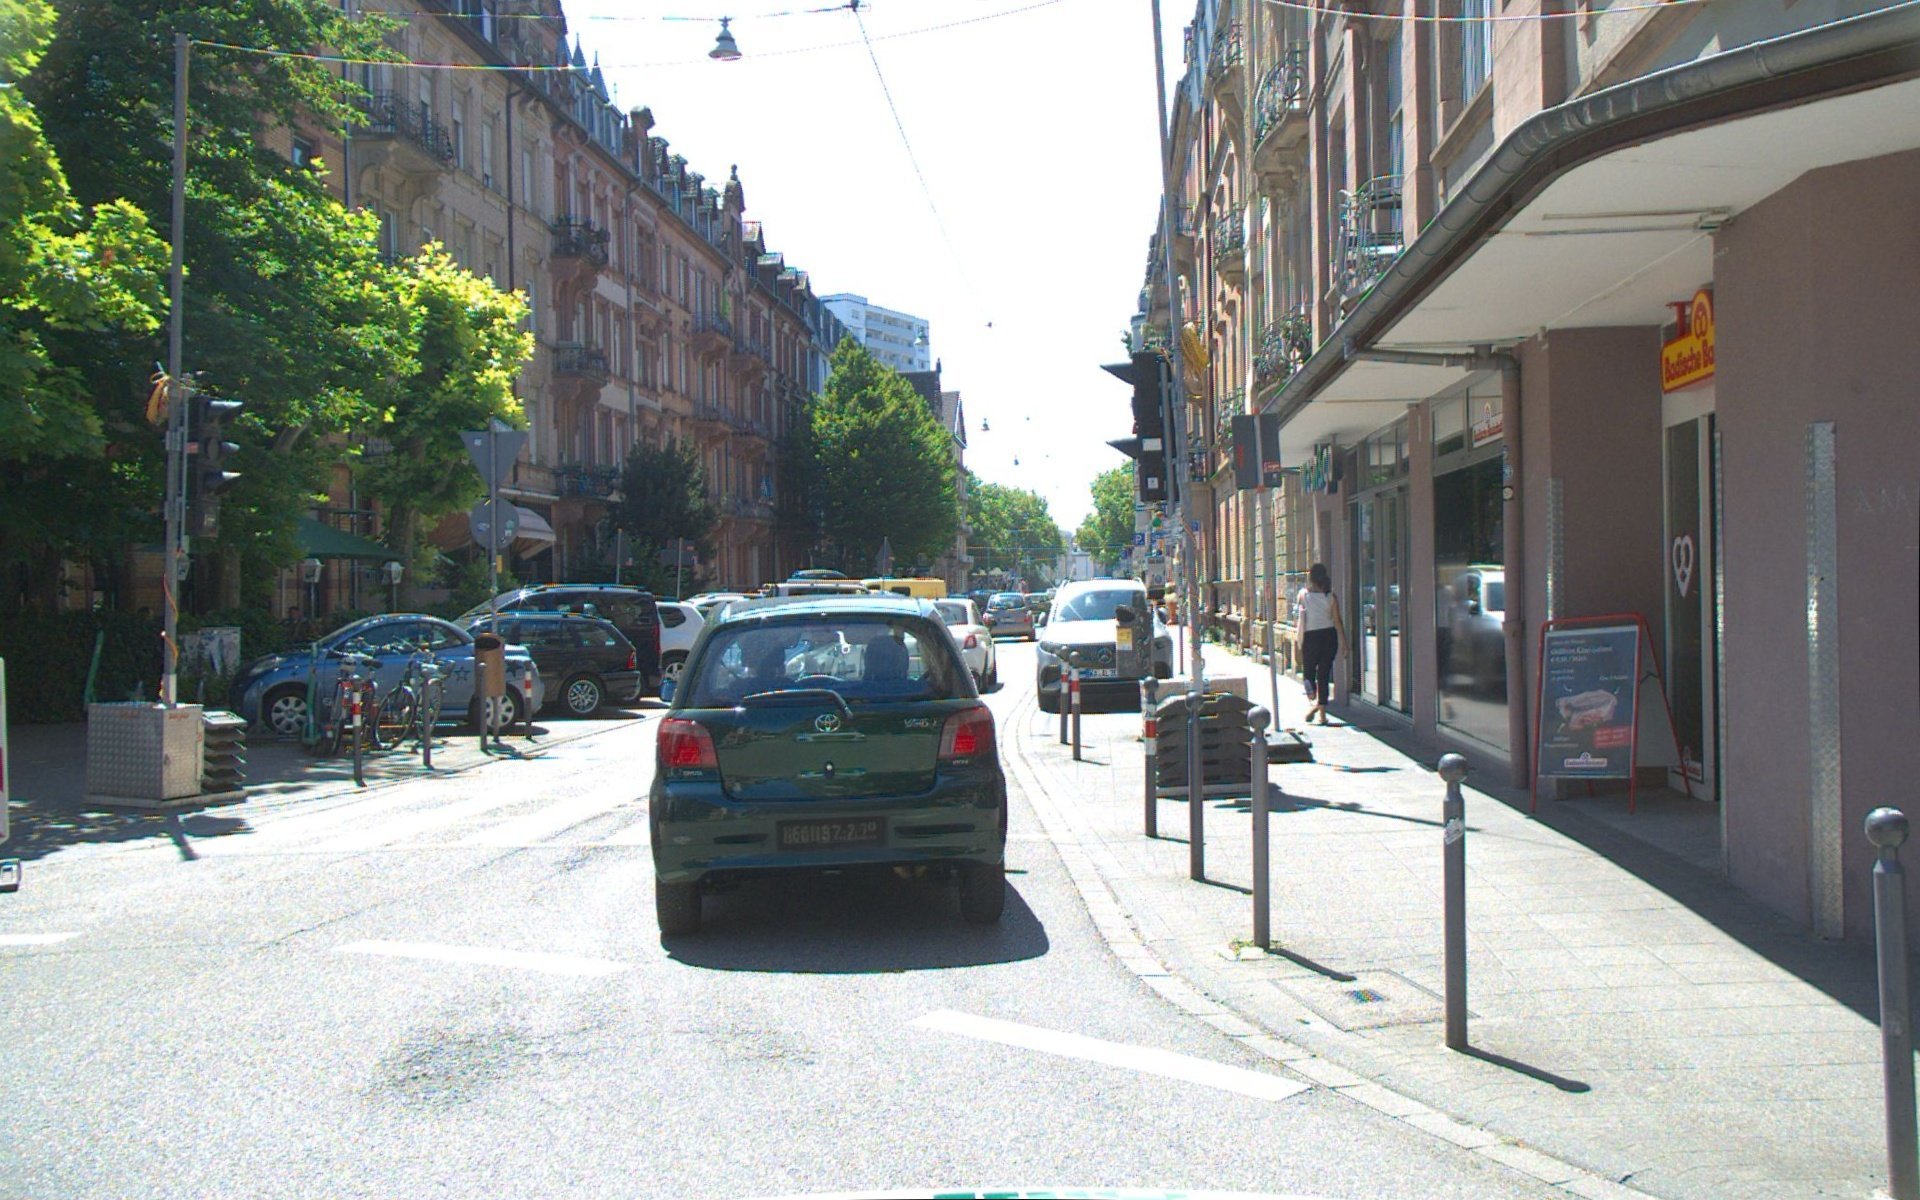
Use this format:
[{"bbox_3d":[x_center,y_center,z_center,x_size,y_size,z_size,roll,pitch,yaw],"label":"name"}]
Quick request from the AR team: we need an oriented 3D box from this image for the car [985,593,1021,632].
[{"bbox_3d":[1.914,0.528,73.480,1.490,1.620,3.265,-1,1,3],"label":"car"}]

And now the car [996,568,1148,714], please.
[{"bbox_3d":[1.593,0.507,23.179,1.832,1.743,4.506,-3,0,4],"label":"car"}]

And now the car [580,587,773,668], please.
[{"bbox_3d":[-6.368,0.587,37.269,3.880,1.647,1.842,-2,0,-37],"label":"car"}]

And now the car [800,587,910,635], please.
[{"bbox_3d":[-3.946,0.392,62.175,3.804,1.668,1.775,-1,0,-20],"label":"car"}]

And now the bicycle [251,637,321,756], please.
[{"bbox_3d":[-7.299,1.019,17.961,0.331,1.177,1.617,0,0,-9],"label":"bicycle"}]

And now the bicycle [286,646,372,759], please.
[{"bbox_3d":[-6.881,1.084,18.098,0.481,1.100,1.895,0,0,-9],"label":"bicycle"}]

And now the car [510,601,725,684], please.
[{"bbox_3d":[-6.933,0.825,33.634,3.881,1.496,1.841,-2,0,-37],"label":"car"}]

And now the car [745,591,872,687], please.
[{"bbox_3d":[-2.956,0.718,33.224,1.718,1.673,4.380,-4,0,4],"label":"car"}]

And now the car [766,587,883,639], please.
[{"bbox_3d":[-4.866,0.442,59.452,3.852,1.738,1.855,-1,0,-20],"label":"car"}]

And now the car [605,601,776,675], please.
[{"bbox_3d":[-6.580,0.897,40.329,3.852,1.647,1.855,-1,0,-20],"label":"car"}]

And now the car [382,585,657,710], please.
[{"bbox_3d":[-6.900,0.691,25.918,3.937,1.836,1.755,0,0,-26],"label":"car"}]

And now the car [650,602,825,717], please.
[{"bbox_3d":[-3.189,0.812,24.488,1.718,1.469,4.002,-2,0,4],"label":"car"}]

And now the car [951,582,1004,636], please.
[{"bbox_3d":[0.592,0.275,52.939,1.490,1.620,3.265,-1,1,4],"label":"car"}]

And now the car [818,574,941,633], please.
[{"bbox_3d":[-3.208,0.108,66.109,4.496,2.226,1.986,-1,0,-23],"label":"car"}]

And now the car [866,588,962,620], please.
[{"bbox_3d":[-2.325,0.188,83.576,4.496,1.459,1.986,-1,0,-23],"label":"car"}]

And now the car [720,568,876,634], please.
[{"bbox_3d":[-5.343,0.017,54.546,4.712,2.029,2.037,-1,0,-25],"label":"car"}]

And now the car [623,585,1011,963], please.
[{"bbox_3d":[-0.807,0.706,8.560,1.583,1.511,3.235,-2,1,-8],"label":"car"}]

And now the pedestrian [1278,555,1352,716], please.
[{"bbox_3d":[3.765,0.366,17.581,0.627,1.652,0.804,-1,0,4],"label":"pedestrian"}]

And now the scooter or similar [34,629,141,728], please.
[{"bbox_3d":[-10.815,0.949,20.543,0.272,1.140,1.471,1,1,12],"label":"scooter or similar"}]

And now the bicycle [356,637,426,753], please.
[{"bbox_3d":[-6.379,1.041,18.594,0.481,1.193,1.681,0,0,-10],"label":"bicycle"}]

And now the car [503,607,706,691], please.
[{"bbox_3d":[-6.665,0.874,30.929,3.565,1.483,1.616,0,0,-20],"label":"car"}]

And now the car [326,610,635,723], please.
[{"bbox_3d":[-6.817,0.888,23.561,3.942,1.437,1.953,0,0,-28],"label":"car"}]

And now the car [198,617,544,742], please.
[{"bbox_3d":[-7.416,0.935,20.832,3.936,1.399,1.984,0,0,-25],"label":"car"}]

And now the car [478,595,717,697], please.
[{"bbox_3d":[-6.353,0.758,28.954,3.927,1.687,1.750,0,0,-19],"label":"car"}]

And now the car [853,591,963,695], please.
[{"bbox_3d":[-0.803,0.664,27.335,1.490,1.547,3.265,-1,1,3],"label":"car"}]
